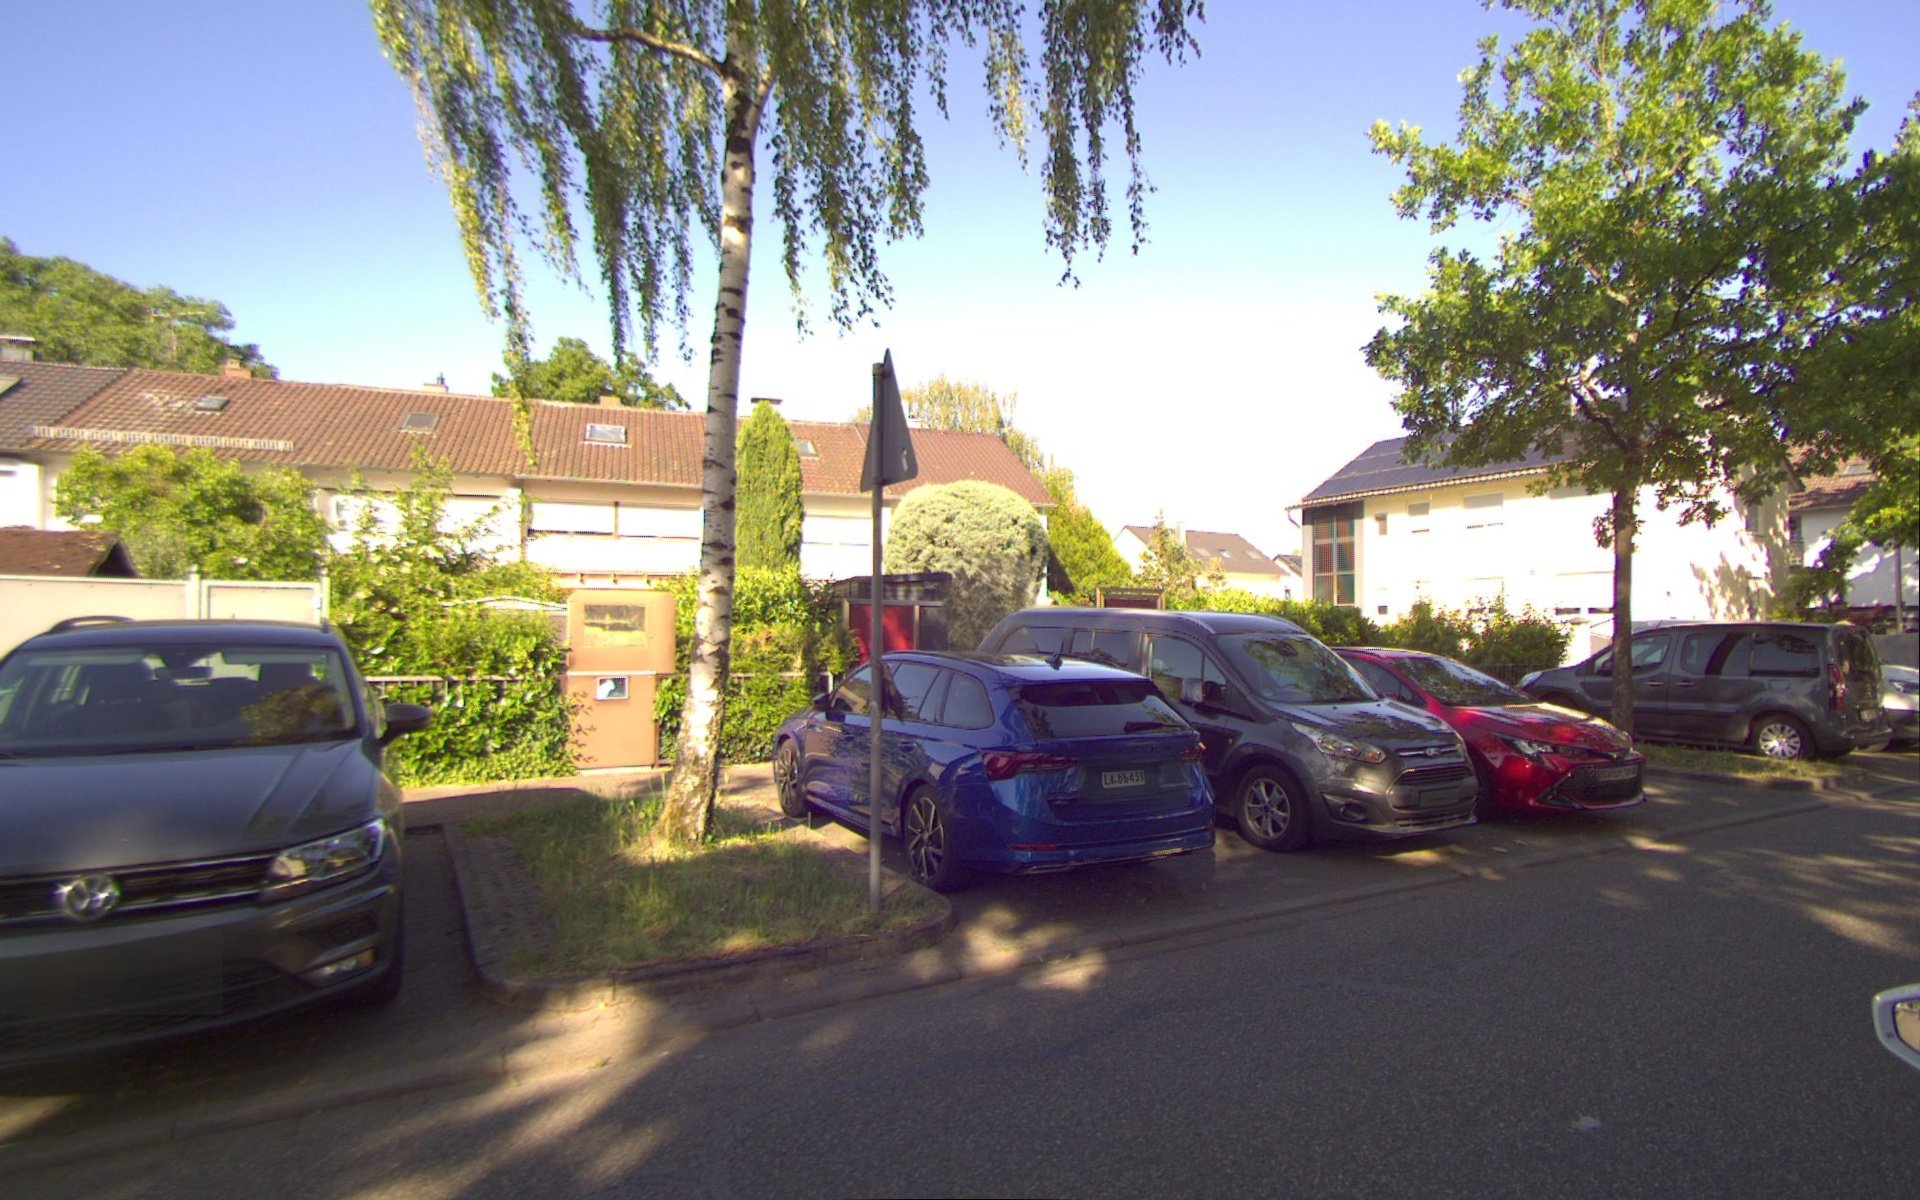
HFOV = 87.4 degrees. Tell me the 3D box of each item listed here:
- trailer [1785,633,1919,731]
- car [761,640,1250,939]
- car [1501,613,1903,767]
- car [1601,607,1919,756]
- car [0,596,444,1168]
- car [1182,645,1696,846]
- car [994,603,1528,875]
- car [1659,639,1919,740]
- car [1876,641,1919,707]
[{"bbox_3d":[16.834,1.451,18.415,1.456,1.695,2.228,1,-2,-27],"label":"trailer"},{"bbox_3d":[-0.012,1.070,7.478,1.702,1.443,4.254,1,-1,-28],"label":"car"},{"bbox_3d":[10.335,1.118,14.318,1.947,1.793,4.213,1,0,-33],"label":"car"},{"bbox_3d":[12.593,1.182,15.419,1.979,1.969,4.211,3,-3,-34],"label":"car"},{"bbox_3d":[-3.702,0.891,5.050,1.740,1.747,4.190,1,-1,-30],"label":"car"},{"bbox_3d":[4.465,1.231,10.151,1.815,1.519,4.456,1,-3,-30],"label":"car"},{"bbox_3d":[2.320,0.943,9.086,1.775,1.792,4.649,1,-1,-31],"label":"car"},{"bbox_3d":[14.513,1.441,17.088,1.672,1.536,3.966,1,-3,-32],"label":"car"},{"bbox_3d":[23.129,1.632,22.019,1.672,1.491,4.189,1,-3,-32],"label":"car"}]
